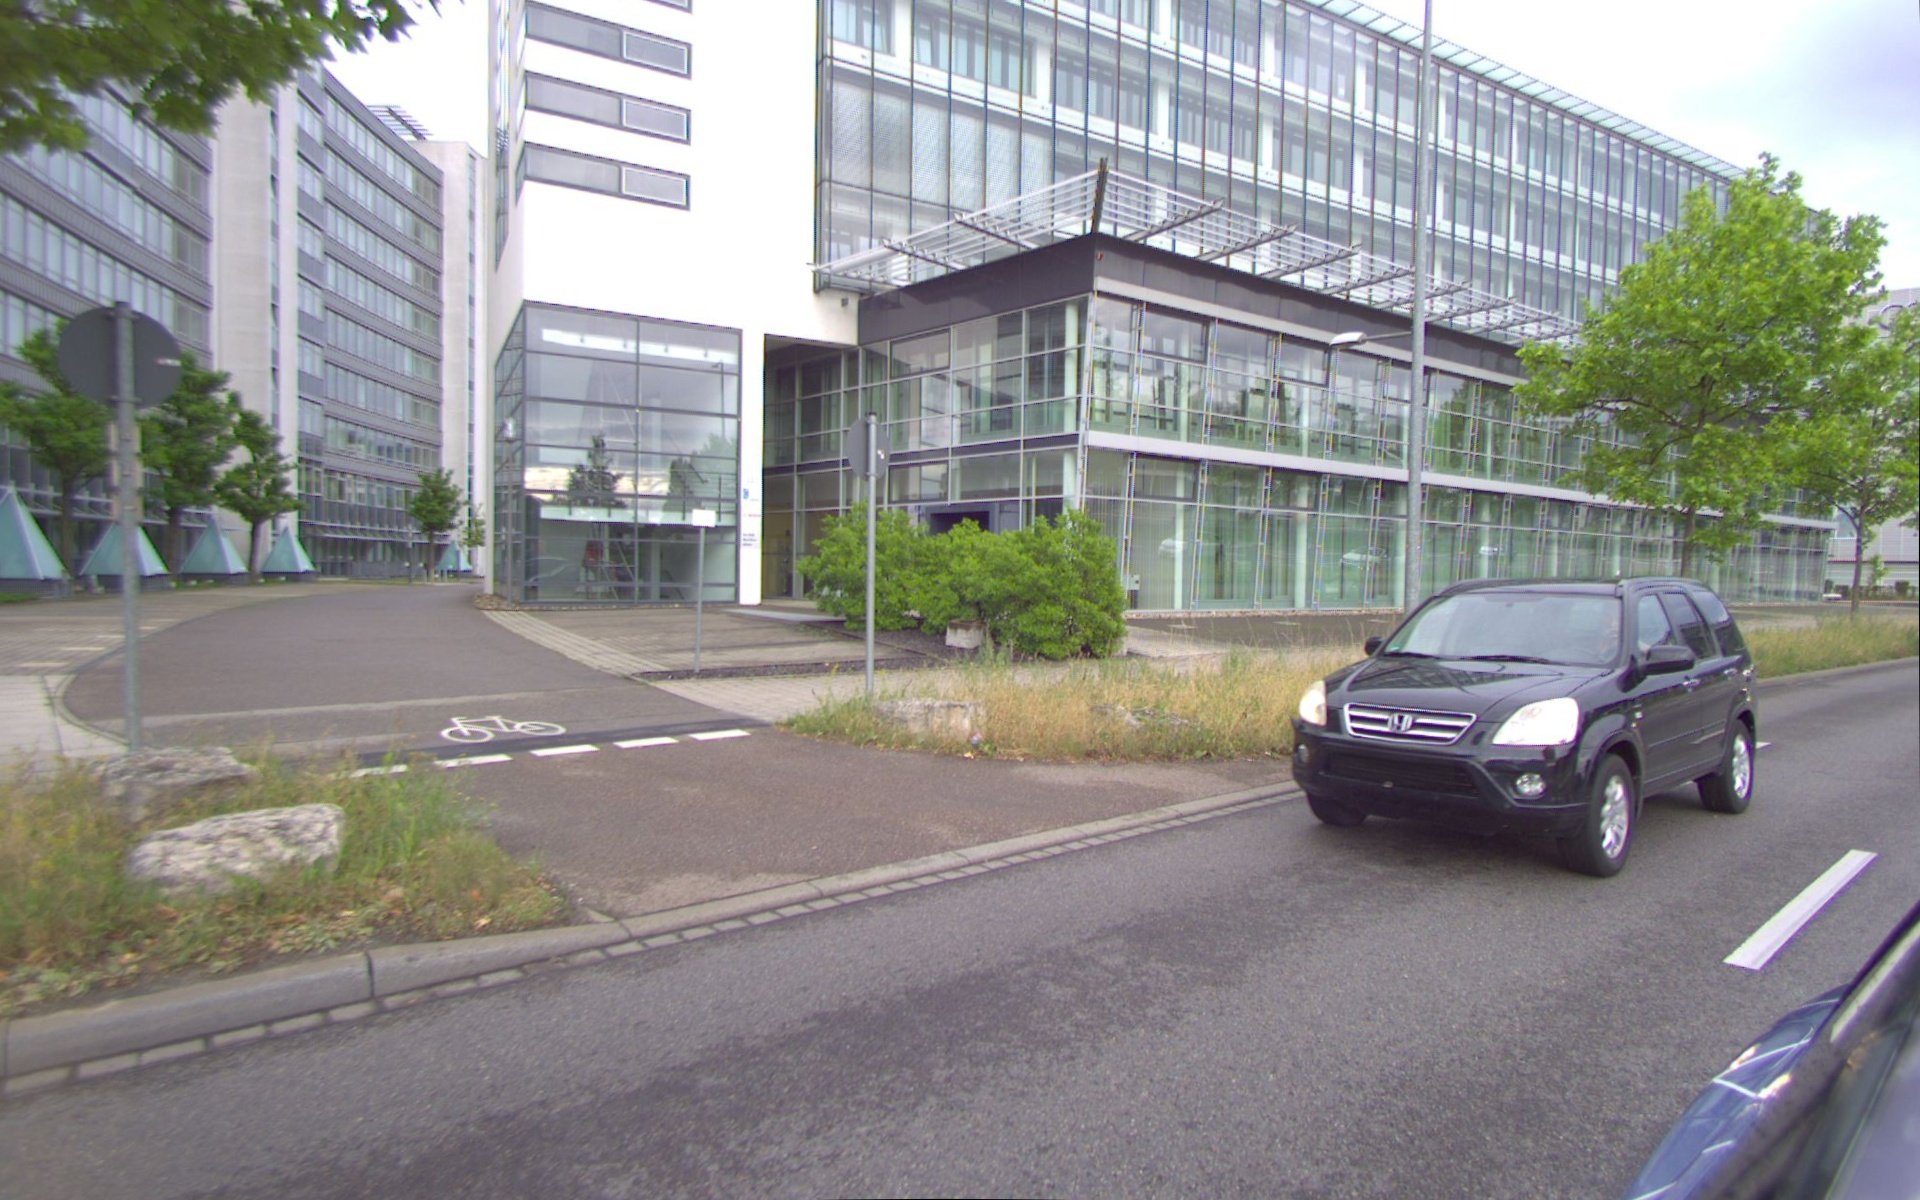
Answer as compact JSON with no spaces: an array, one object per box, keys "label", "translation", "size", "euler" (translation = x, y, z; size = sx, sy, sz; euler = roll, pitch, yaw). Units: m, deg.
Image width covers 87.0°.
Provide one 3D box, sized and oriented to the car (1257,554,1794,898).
[{"label":"car","translation":[4.030,0.580,6.901],"size":[4.248,1.650,1.769],"euler":[-1,0,-40]}]
